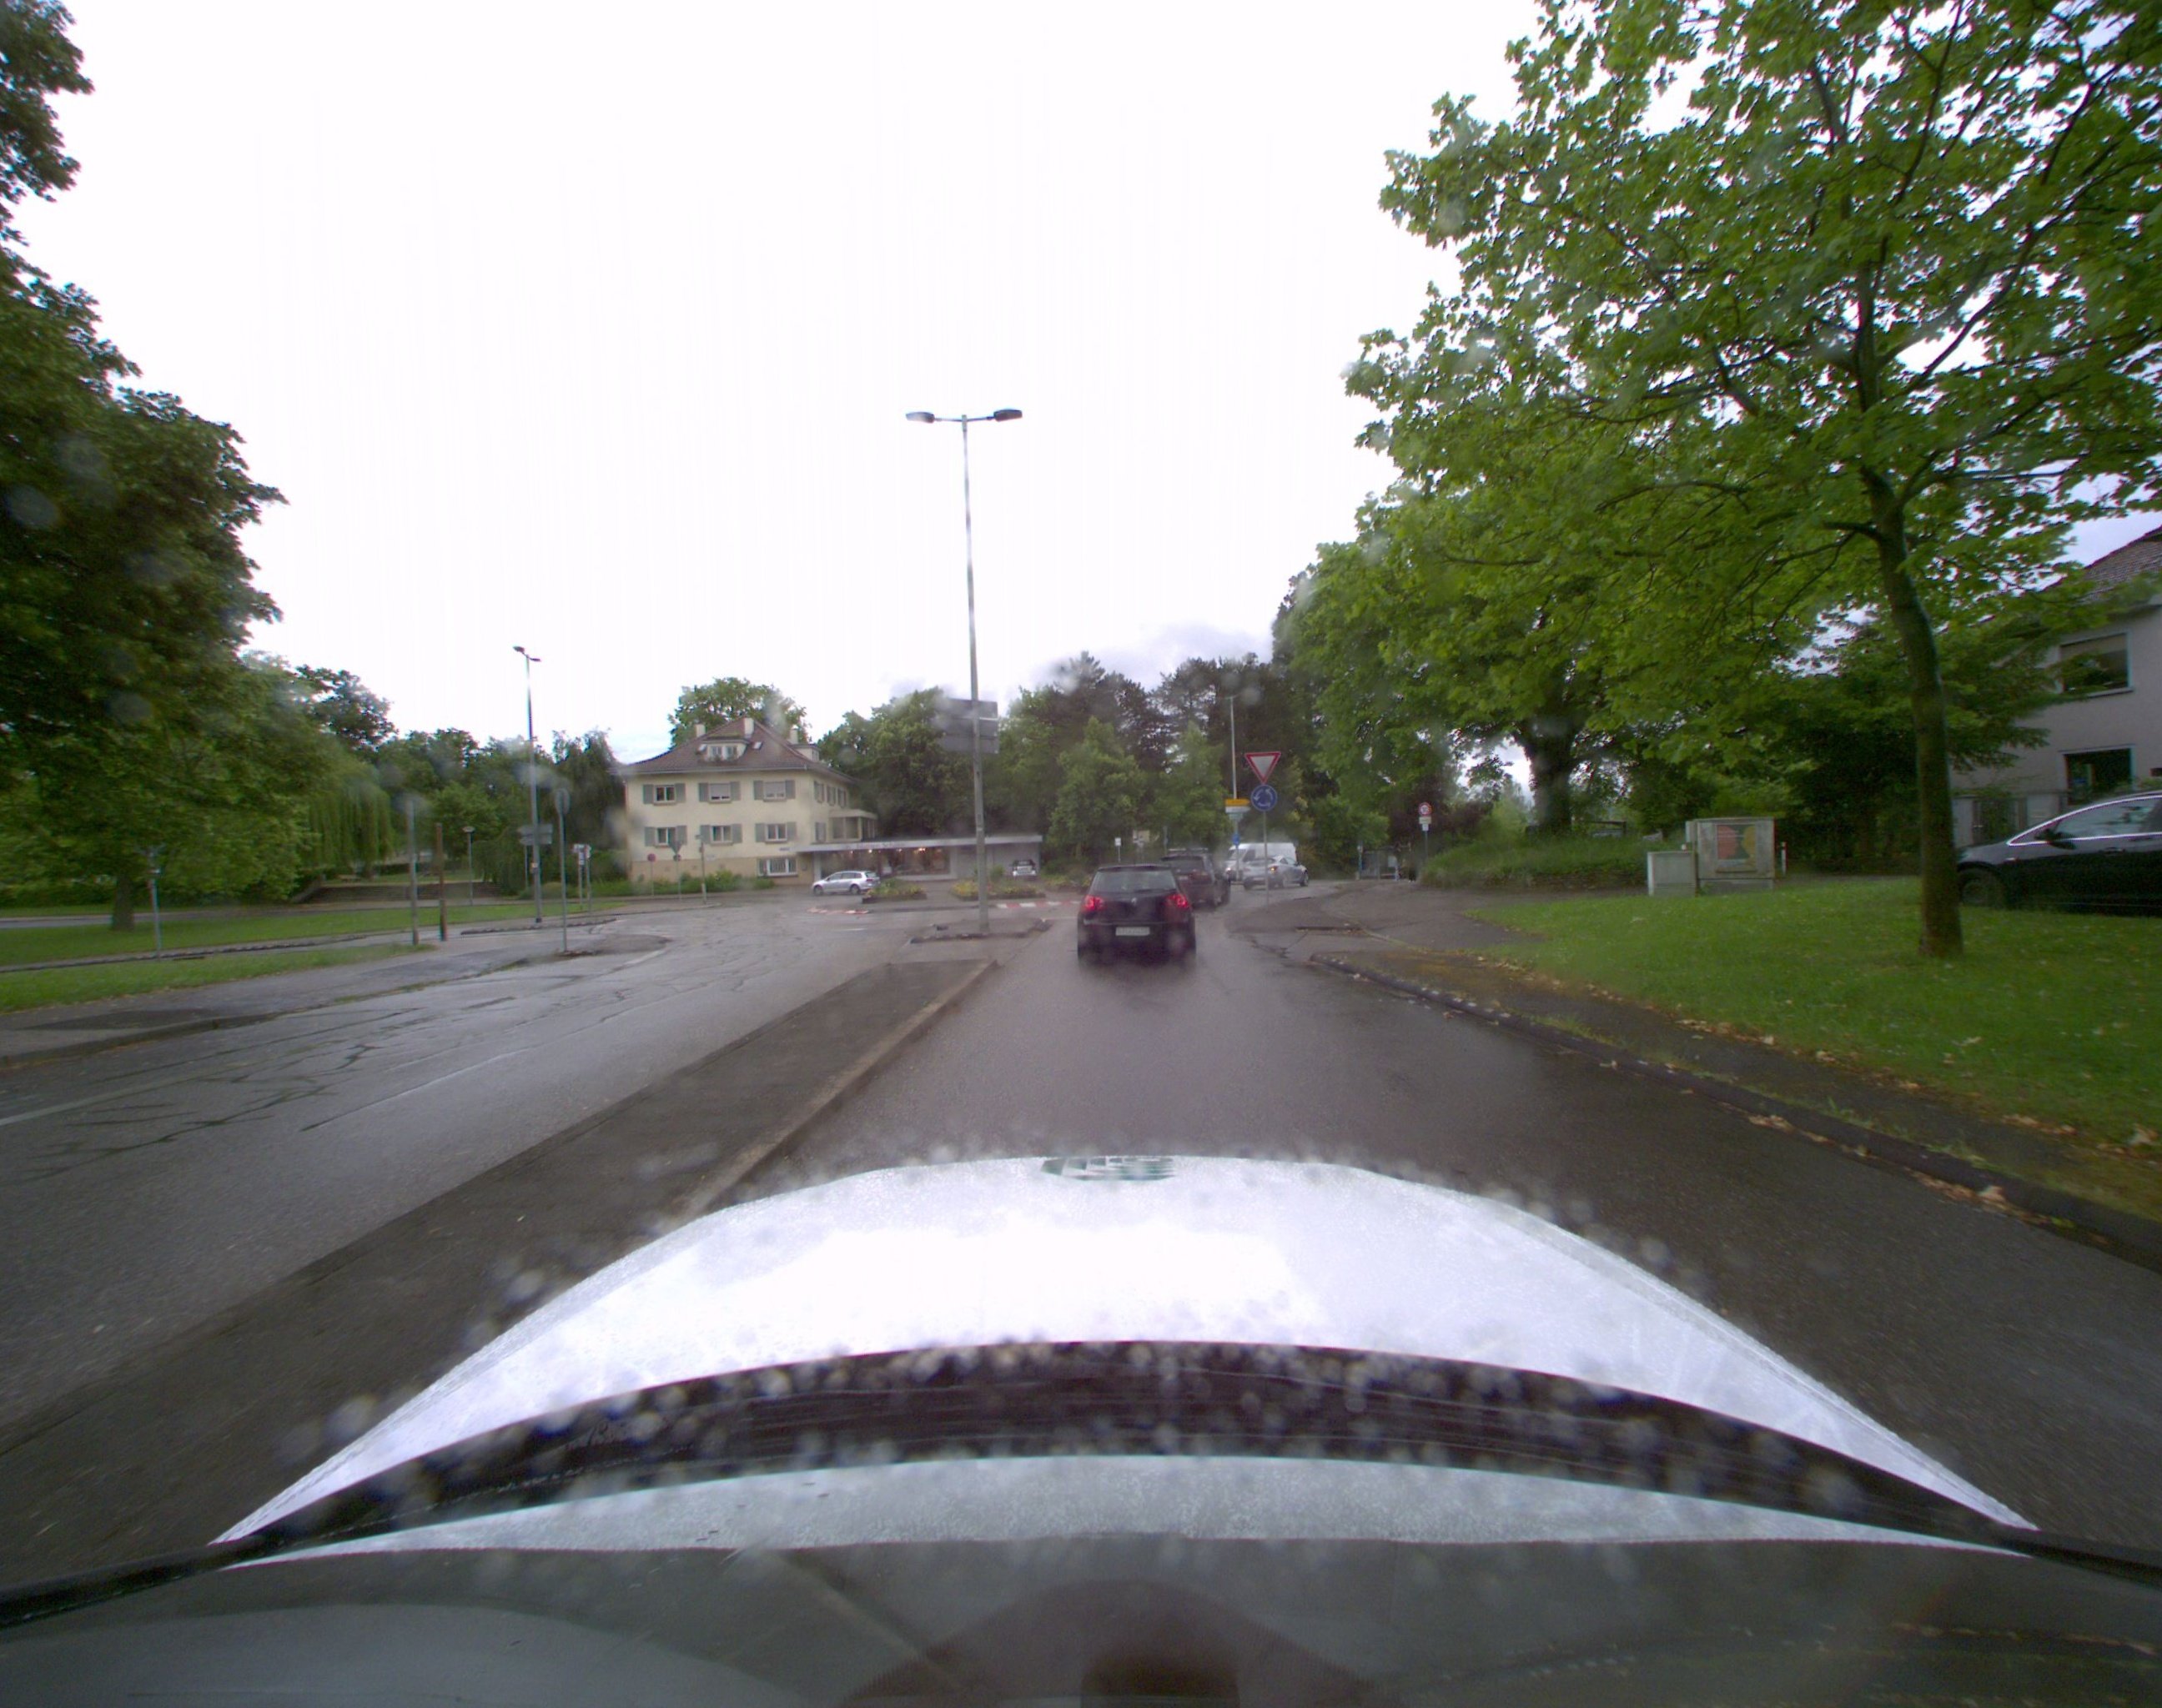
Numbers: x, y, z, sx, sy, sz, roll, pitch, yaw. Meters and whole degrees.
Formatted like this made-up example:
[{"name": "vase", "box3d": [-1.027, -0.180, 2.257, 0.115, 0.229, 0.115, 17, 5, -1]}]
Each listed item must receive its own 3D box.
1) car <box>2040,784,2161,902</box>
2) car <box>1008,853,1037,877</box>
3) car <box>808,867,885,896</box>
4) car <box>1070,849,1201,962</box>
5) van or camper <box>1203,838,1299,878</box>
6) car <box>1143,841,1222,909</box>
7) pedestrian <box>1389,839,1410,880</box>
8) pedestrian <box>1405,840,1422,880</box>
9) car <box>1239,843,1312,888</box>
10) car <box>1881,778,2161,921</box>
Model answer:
[{"name": "car", "box3d": [14.389, -0.211, 9.184, 1.840, 1.471, 4.423, -3, -1, -1]}, {"name": "car", "box3d": [-4.161, 0.769, 57.347, 1.810, 1.486, 3.823, -3, 0, -6]}, {"name": "car", "box3d": [-14.448, 1.701, 50.276, 4.098, 1.741, 2.009, -1, -1, 17]}, {"name": "car", "box3d": [1.030, 0.732, 13.244, 1.754, 1.538, 4.010, -1, -1, 9]}, {"name": "van or camper", "box3d": [10.450, 0.244, 49.942, 5.682, 2.378, 2.181, 0, -1, -28]}, {"name": "car", "box3d": [2.966, 0.610, 24.706, 1.759, 1.801, 4.245, -3, -1, 0]}, {"name": "pedestrian", "box3d": [13.596, 0.245, 34.740, 0.529, 1.713, 0.633, -1, -1, -13]}, {"name": "pedestrian", "box3d": [14.450, 0.249, 35.402, 0.629, 1.713, 0.532, -1, -1, 17]}, {"name": "car", "box3d": [8.695, 0.484, 36.102, 1.747, 1.801, 4.273, -4, -1, 33]}, {"name": "car", "box3d": [11.939, -0.100, 8.914, 1.759, 1.471, 4.596, -4, -1, 0]}]
